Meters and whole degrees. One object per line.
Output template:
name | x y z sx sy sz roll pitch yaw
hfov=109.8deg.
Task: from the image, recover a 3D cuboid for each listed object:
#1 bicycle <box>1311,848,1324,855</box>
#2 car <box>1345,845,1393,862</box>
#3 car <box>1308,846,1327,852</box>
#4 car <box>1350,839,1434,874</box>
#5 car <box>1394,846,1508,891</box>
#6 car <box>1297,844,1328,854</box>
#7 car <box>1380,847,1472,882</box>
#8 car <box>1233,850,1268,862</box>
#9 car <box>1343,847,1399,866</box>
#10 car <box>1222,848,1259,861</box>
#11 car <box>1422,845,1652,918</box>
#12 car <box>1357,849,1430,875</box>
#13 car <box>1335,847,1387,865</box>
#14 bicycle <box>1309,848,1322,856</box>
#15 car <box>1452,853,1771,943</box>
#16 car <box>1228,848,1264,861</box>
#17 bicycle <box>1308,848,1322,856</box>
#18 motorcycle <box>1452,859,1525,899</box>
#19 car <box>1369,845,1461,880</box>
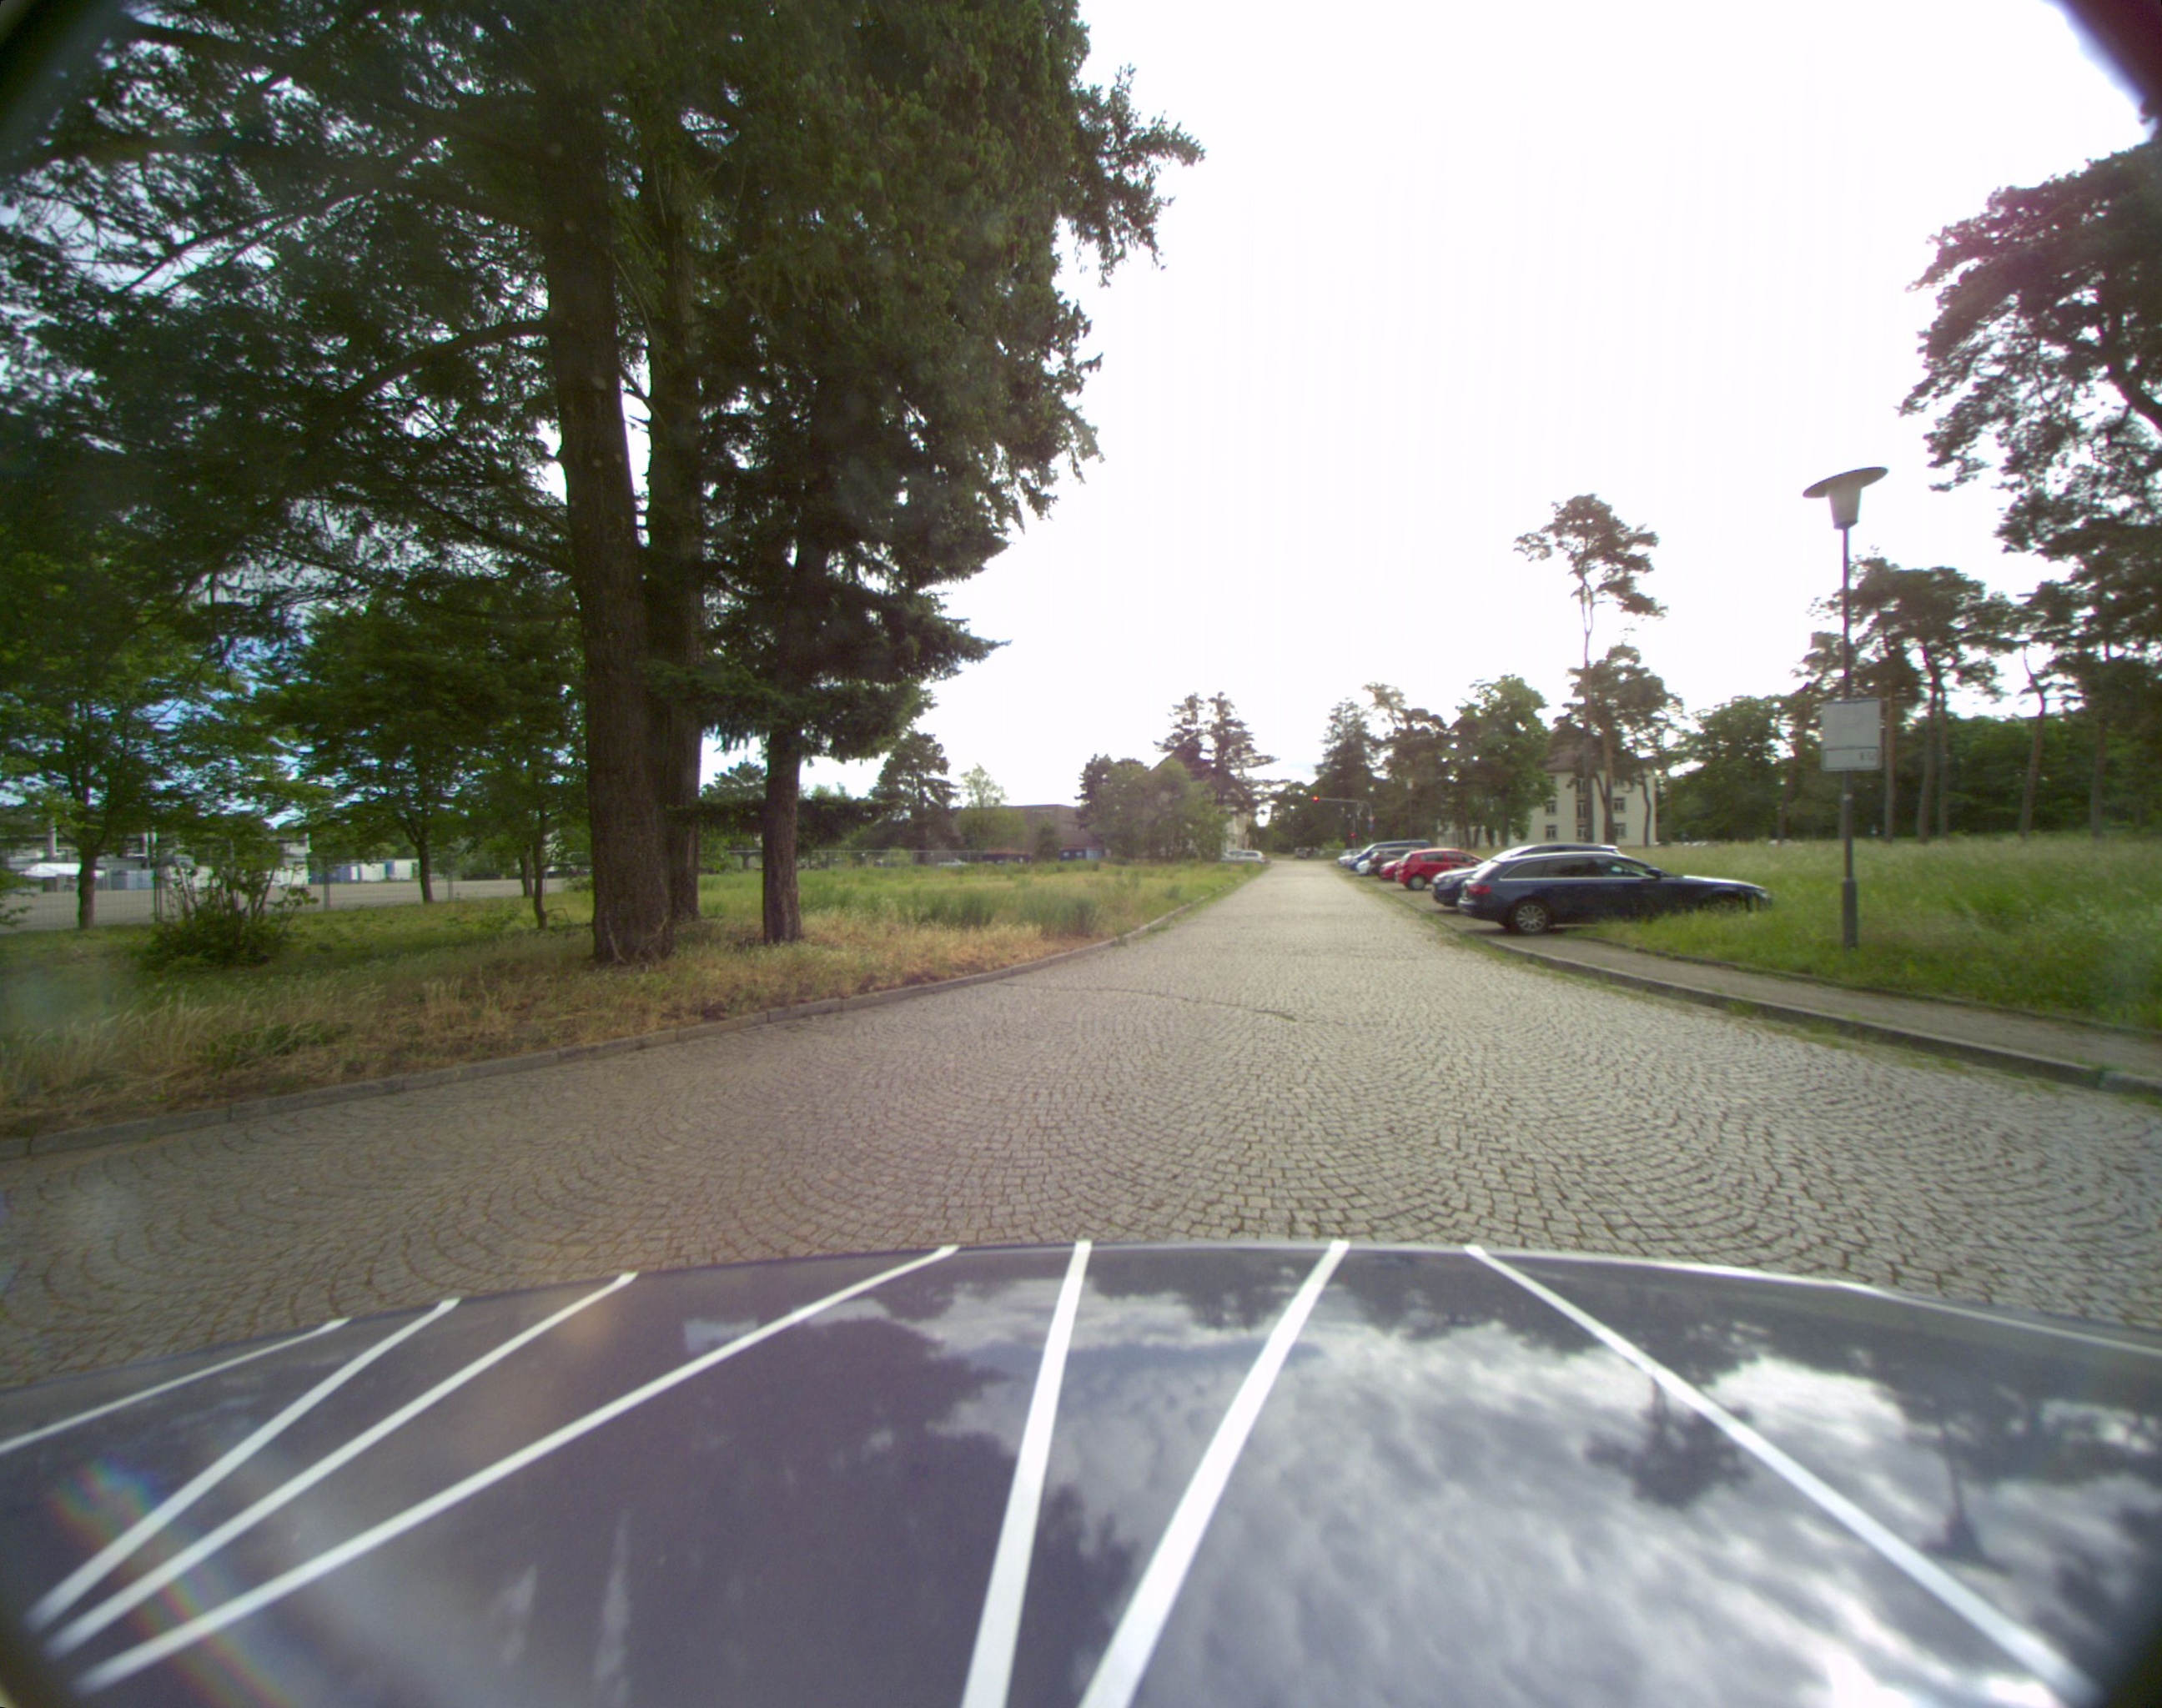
bicycle | 36.816 -0.343 118.464 1.859 1.089 0.511 -1 1 9
car | 26.201 -0.024 69.284 3.946 1.331 1.585 -3 0 15
car | 40.798 -0.830 131.092 3.114 1.046 1.341 -1 1 9
car | 18.955 0.138 46.492 4.537 1.891 1.795 -3 0 15
car | 13.563 0.531 28.019 3.493 1.473 1.604 -3 0 15
car | 40.910 -0.927 134.481 4.979 1.612 1.903 -1 1 9
car | 15.959 0.468 35.315 3.657 1.413 1.579 -3 0 15
car | 16.417 0.156 73.569 3.264 1.081 1.398 -1 1 12
car | 22.823 0.189 59.885 3.946 1.331 1.585 -3 0 15
car | 16.134 0.011 76.730 3.589 1.203 1.585 -1 1 15
car | 10.688 0.642 18.169 4.357 1.553 1.766 -2 0 15
car | 18.090 0.459 44.120 3.688 1.331 1.585 -3 0 15
car | 23.657 0.188 64.216 3.946 1.331 1.585 -3 0 15
bicycle | 36.397 -0.322 117.723 1.859 1.089 0.511 -1 1 9
car | 9.217 0.782 13.656 4.346 1.397 1.766 -2 0 19
car | 15.483 0.029 71.276 3.264 1.081 1.451 -1 1 12
bicycle | 36.134 -0.307 117.344 1.859 1.089 0.511 -1 1 9
motorcycle | 12.584 0.769 23.515 1.912 1.186 0.550 -1 1 11
car | 16.608 0.399 37.945 3.946 1.536 1.766 -3 0 15
